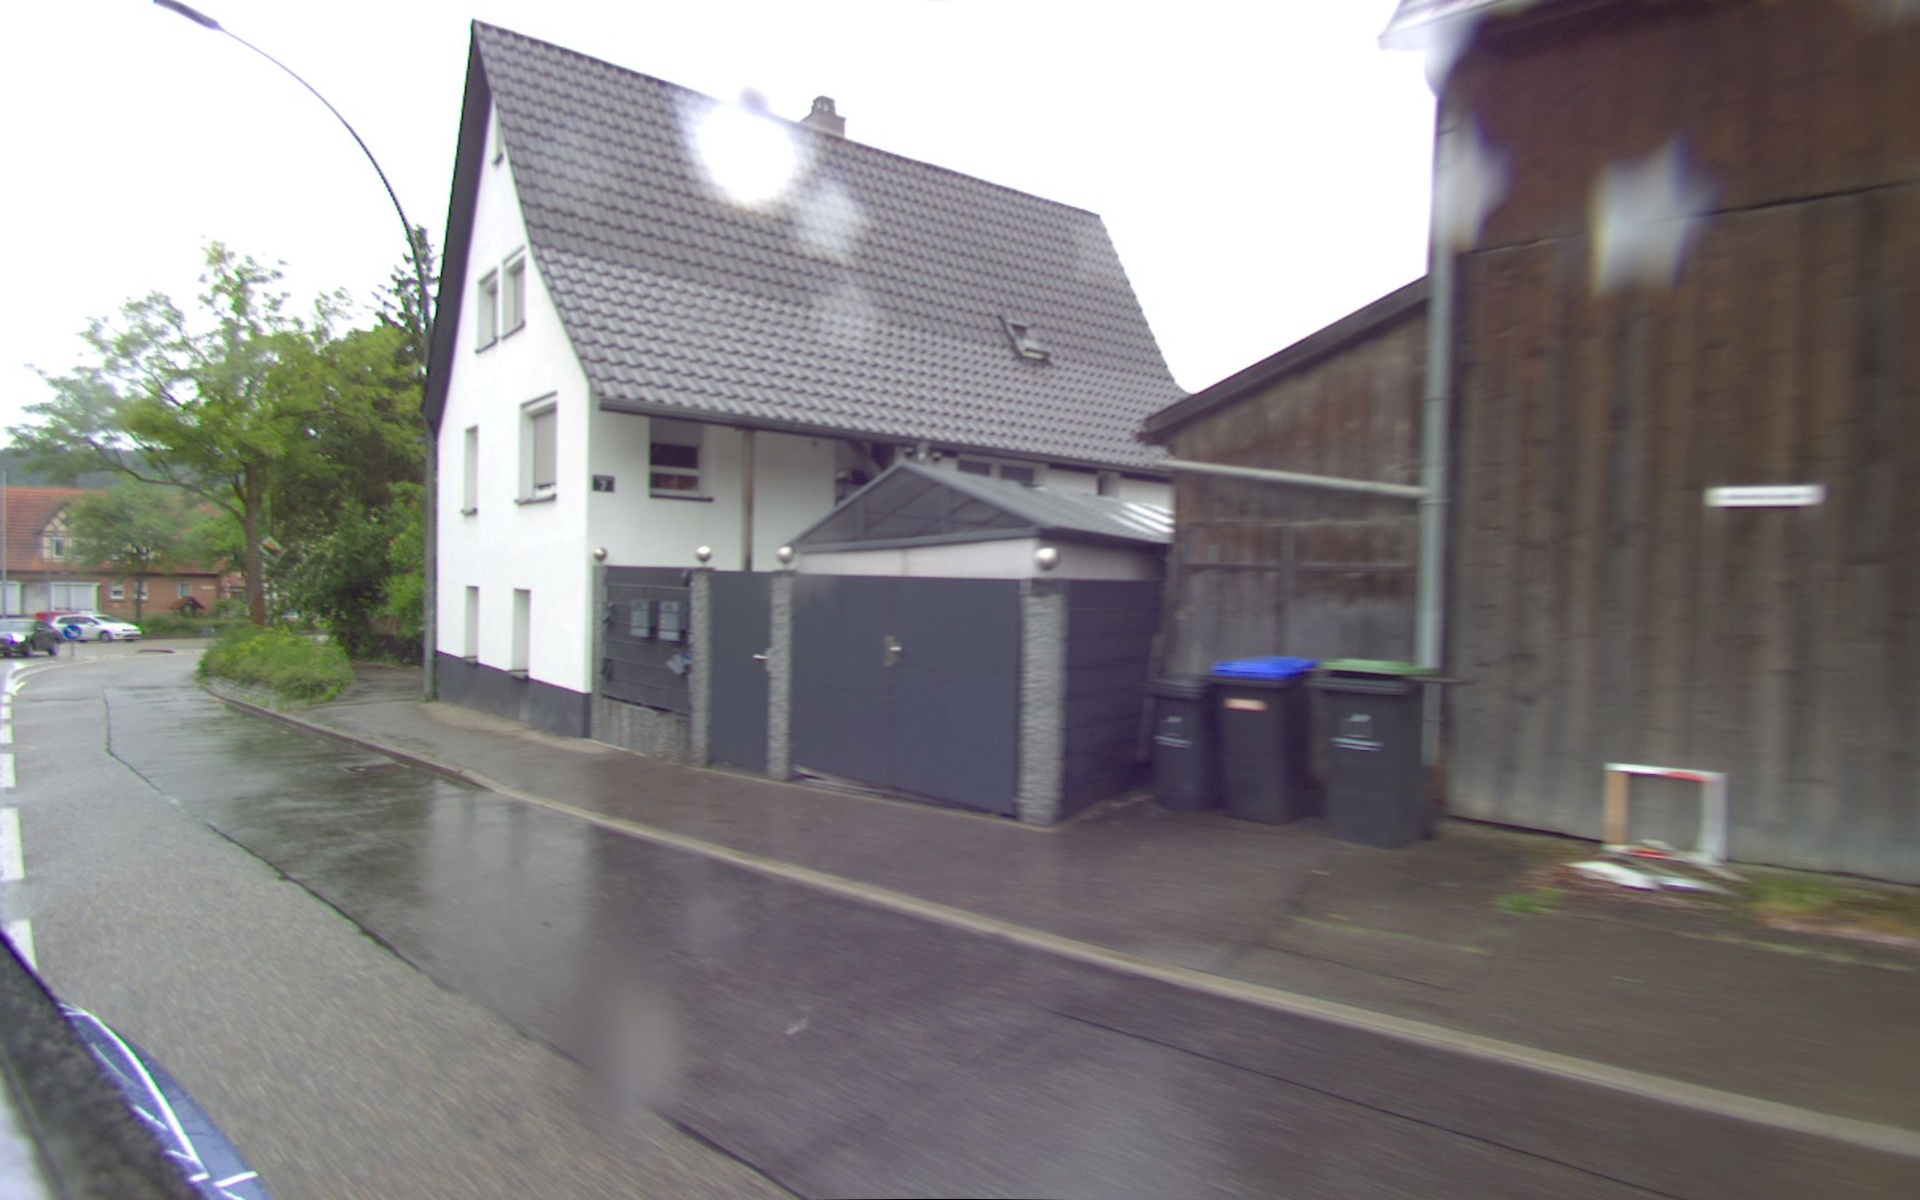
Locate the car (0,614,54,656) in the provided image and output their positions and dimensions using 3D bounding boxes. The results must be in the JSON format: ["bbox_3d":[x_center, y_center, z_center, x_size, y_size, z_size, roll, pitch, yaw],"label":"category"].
[{"bbox_3d":[-38.090,1.368,40.406,1.965,1.541,4.013,0,0,-29],"label":"car"}]

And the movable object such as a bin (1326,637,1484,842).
[{"bbox_3d":[2.736,0.799,6.201,0.651,1.086,0.888,0,1,42],"label":"movable object such as a bin"}]

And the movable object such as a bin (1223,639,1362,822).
[{"bbox_3d":[2.200,0.819,6.679,0.596,1.069,0.808,0,0,42],"label":"movable object such as a bin"}]

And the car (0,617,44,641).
[{"bbox_3d":[-59.132,1.781,62.399,1.609,1.401,3.716,0,0,15],"label":"car"}]

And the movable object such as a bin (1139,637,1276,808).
[{"bbox_3d":[1.739,0.813,7.082,0.611,1.066,0.827,0,0,42],"label":"movable object such as a bin"}]

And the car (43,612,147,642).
[{"bbox_3d":[-46.247,1.442,54.169,4.090,1.547,1.758,0,0,-1],"label":"car"}]

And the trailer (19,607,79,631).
[{"bbox_3d":[-62.205,1.293,69.126,2.679,1.662,1.416,0,-1,-15],"label":"trailer"}]
